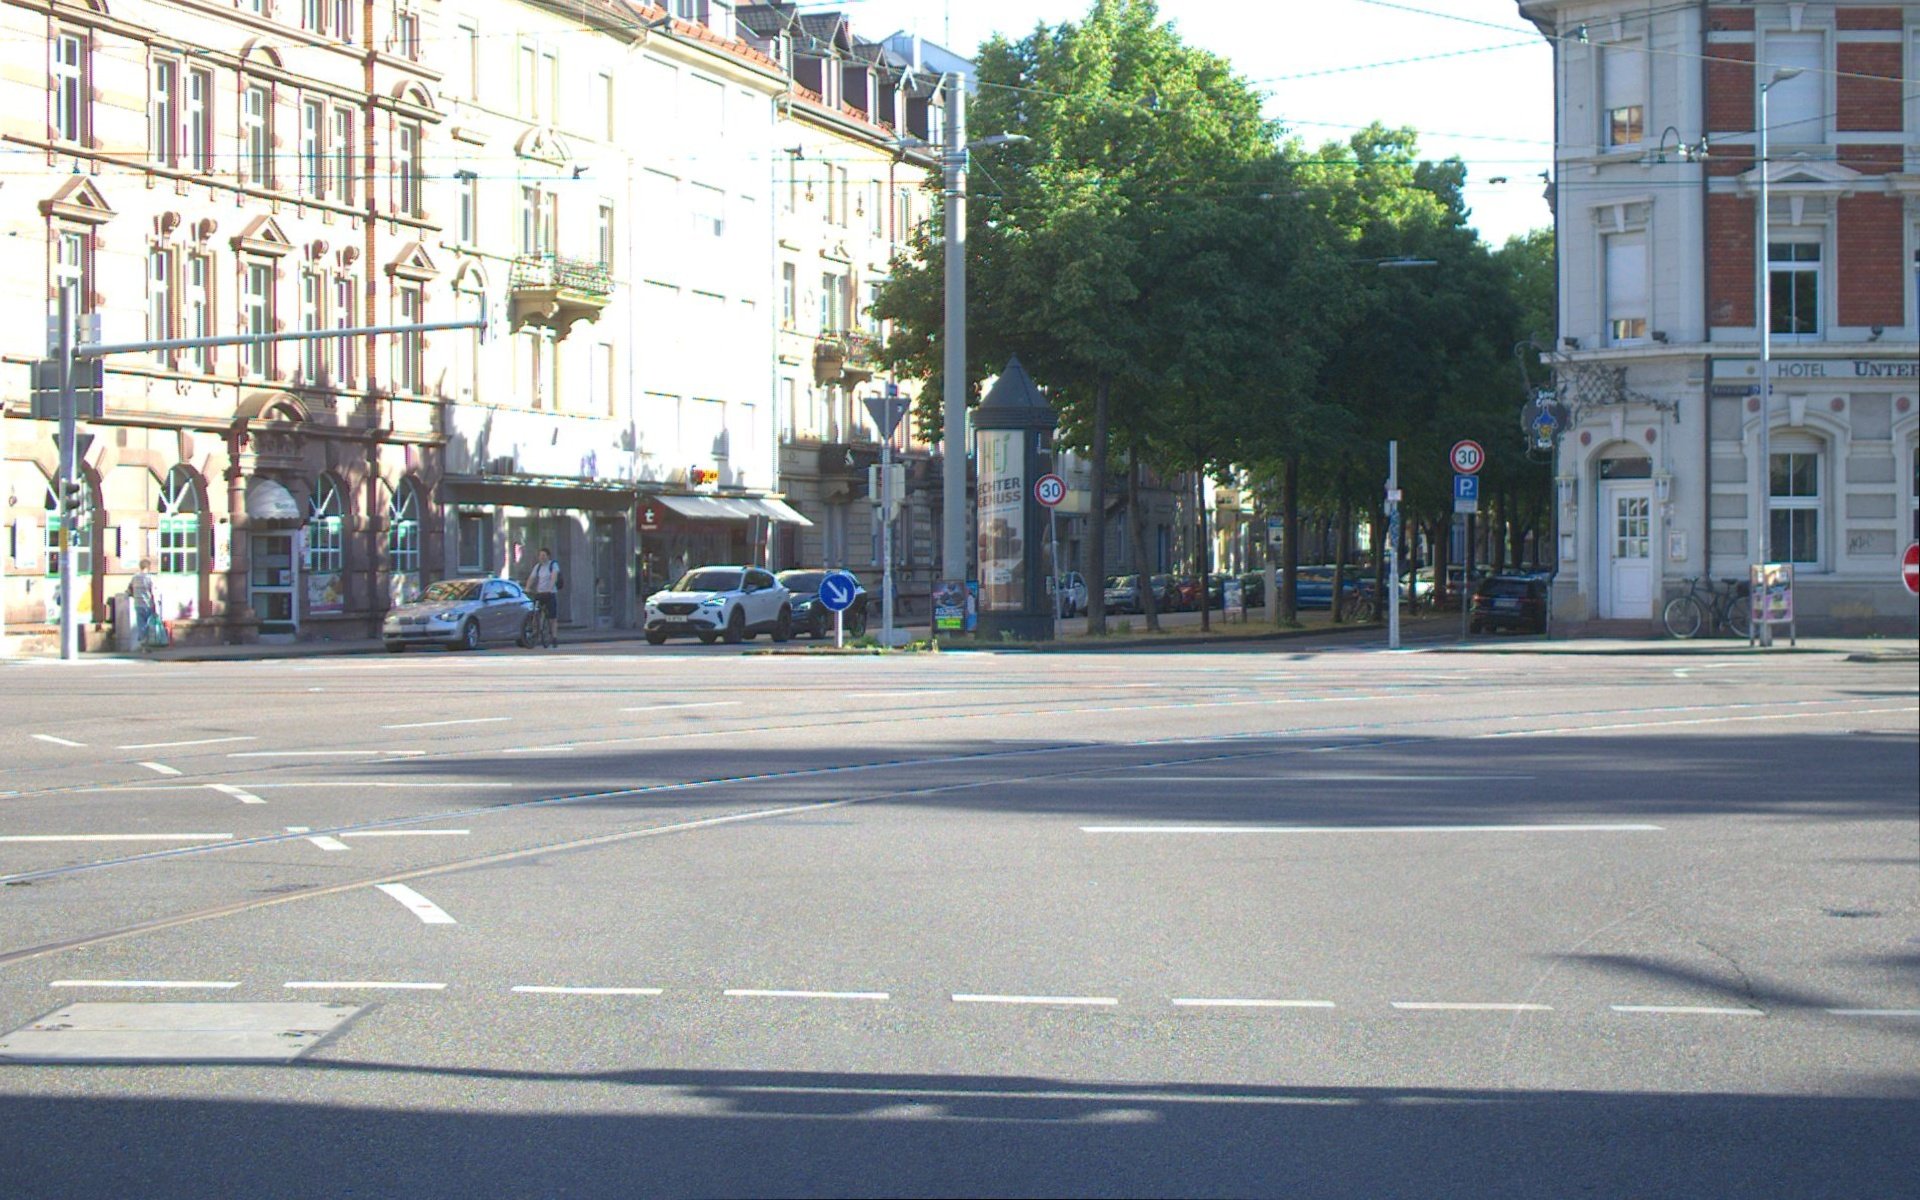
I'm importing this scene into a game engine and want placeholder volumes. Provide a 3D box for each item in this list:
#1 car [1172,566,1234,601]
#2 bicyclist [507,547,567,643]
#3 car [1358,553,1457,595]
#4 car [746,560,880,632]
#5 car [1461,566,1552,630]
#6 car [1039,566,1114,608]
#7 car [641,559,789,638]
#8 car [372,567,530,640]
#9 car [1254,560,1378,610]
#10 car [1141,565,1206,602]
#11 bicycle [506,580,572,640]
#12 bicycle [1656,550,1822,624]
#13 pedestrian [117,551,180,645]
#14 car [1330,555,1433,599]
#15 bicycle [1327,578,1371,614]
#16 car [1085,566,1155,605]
[{"bbox_3d":[9.611,-0.665,135.783,1.678,1.349,3.588,0,1,17],"label":"car"},{"bbox_3d":[-8.016,-0.094,65.144,0.779,1.797,1.055,1,0,14],"label":"bicyclist"},{"bbox_3d":[17.387,-1.012,133.512,3.582,1.642,1.681,0,1,17],"label":"car"},{"bbox_3d":[-3.122,-0.108,73.621,1.678,1.478,3.945,0,1,17],"label":"car"},{"bbox_3d":[13.148,-0.063,82.579,1.678,1.478,3.945,0,1,17],"label":"car"},{"bbox_3d":[3.932,-0.454,115.485,1.678,1.349,3.588,0,1,17],"label":"car"},{"bbox_3d":[-4.763,-0.058,67.320,1.678,1.478,3.768,0,1,17],"label":"car"},{"bbox_3d":[-9.874,0.050,66.916,1.678,1.349,3.588,0,1,17],"label":"car"},{"bbox_3d":[11.990,-0.519,115.683,3.905,1.642,1.681,0,1,17],"label":"car"},{"bbox_3d":[8.139,-0.626,130.753,1.678,1.349,3.588,0,1,17],"label":"car"},{"bbox_3d":[-7.981,0.179,65.271,0.702,1.114,1.634,1,1,13],"label":"bicycle"},{"bbox_3d":[12.967,-0.211,57.281,2.554,1.170,0.819,1,0,-3],"label":"bicycle"},{"bbox_3d":[-14.567,-0.042,61.710,0.776,1.664,0.830,1,0,15],"label":"pedestrian"},{"bbox_3d":[15.712,-0.857,128.039,3.582,1.642,1.681,0,1,17],"label":"car"},{"bbox_3d":[11.260,-0.112,99.489,0.636,1.018,1.847,1,1,-14],"label":"bicycle"},{"bbox_3d":[5.703,-0.525,122.447,1.678,1.349,3.588,0,1,17],"label":"car"}]
